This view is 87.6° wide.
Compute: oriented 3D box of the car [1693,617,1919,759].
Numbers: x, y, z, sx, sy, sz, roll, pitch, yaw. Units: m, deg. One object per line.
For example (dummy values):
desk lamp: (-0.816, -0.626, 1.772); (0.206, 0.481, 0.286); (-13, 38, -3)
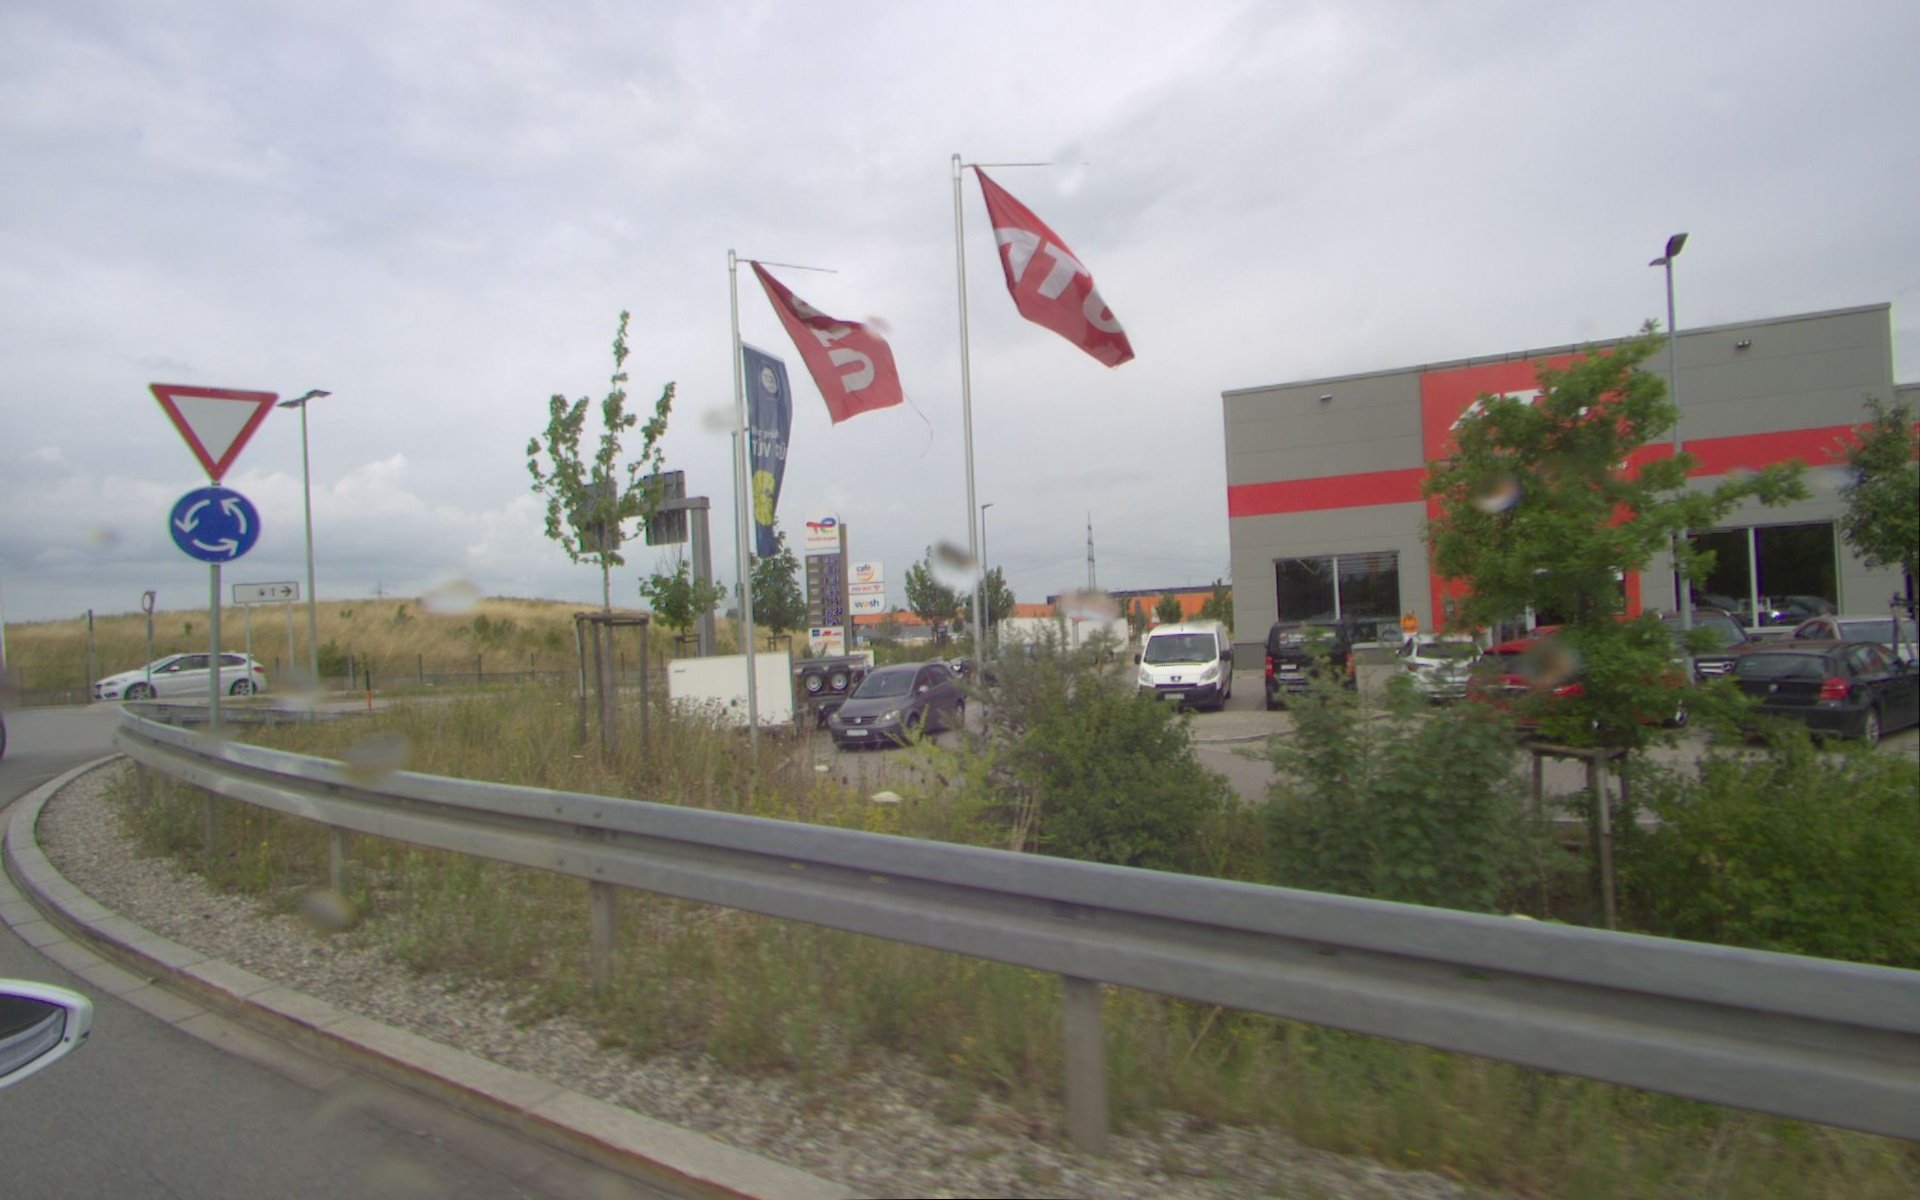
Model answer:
car: (12.648, 1.165, 14.574); (4.019, 1.600, 1.762); (-3, 0, -31)

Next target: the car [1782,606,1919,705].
car: (17.098, 1.007, 18.577); (1.563, 1.658, 3.695); (-2, -3, 19)

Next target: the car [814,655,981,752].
car: (-1.201, 2.153, 21.847); (1.931, 1.697, 4.827); (-2, -1, 19)

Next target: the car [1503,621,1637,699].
car: (13.206, 1.297, 21.934); (1.563, 1.517, 4.197); (-2, -3, 19)

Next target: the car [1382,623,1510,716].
car: (10.482, 1.424, 21.932); (1.882, 1.663, 4.666); (-2, 0, 19)

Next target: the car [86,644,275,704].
car: (-24.513, 2.260, 31.644); (1.761, 1.650, 4.400); (-1, -1, 36)

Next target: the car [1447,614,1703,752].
car: (9.842, 1.242, 15.961); (4.018, 1.600, 1.763); (-5, 0, -32)

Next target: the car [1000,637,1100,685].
car: (3.228, 2.252, 36.603); (1.888, 1.592, 3.728); (0, -5, -27)

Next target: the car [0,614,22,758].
car: (-10.831, 0.924, 9.565); (1.890, 1.594, 3.979); (-2, -1, -31)

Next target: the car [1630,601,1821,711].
car: (14.516, 1.075, 19.271); (1.563, 1.859, 4.197); (-2, -3, 19)

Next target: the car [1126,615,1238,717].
car: (5.321, 1.432, 23.454); (1.965, 2.073, 5.070); (-2, -1, 19)

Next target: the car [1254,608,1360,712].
car: (7.775, 1.241, 22.573); (1.965, 1.998, 5.069); (-2, 0, 19)
